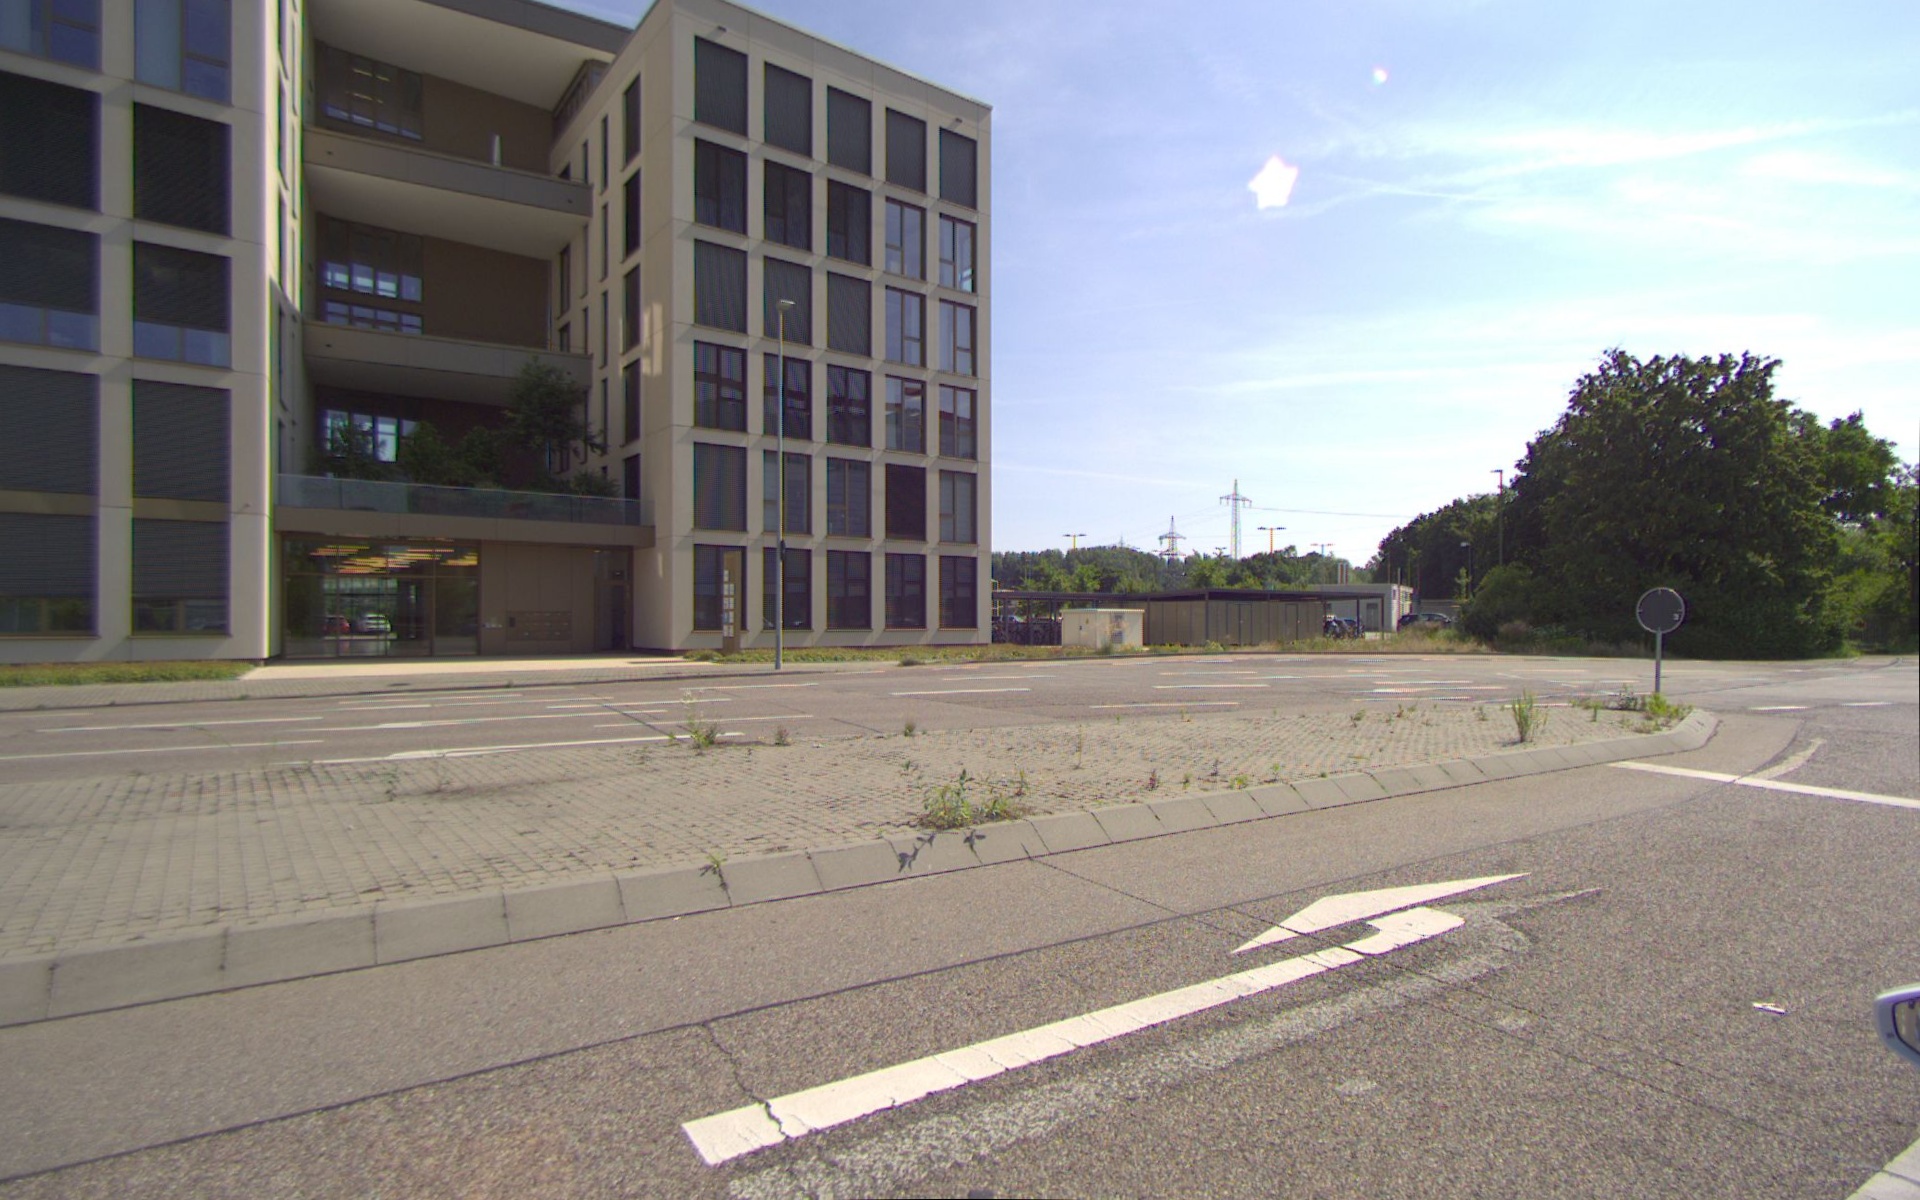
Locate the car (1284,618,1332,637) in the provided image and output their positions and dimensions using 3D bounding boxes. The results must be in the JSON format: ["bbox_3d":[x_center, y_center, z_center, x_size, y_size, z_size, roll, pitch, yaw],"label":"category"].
[{"bbox_3d":[20.783,1.644,59.979,2.798,1.128,1.250,1,-1,-31],"label":"car"}]

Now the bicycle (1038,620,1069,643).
[{"bbox_3d":[4.697,1.576,50.597,0.583,1.106,1.691,1,0,-35],"label":"bicycle"}]

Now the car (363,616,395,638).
[{"bbox_3d":[-45.588,2.103,78.829,1.929,1.702,3.963,1,-1,-33],"label":"car"}]

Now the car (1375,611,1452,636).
[{"bbox_3d":[27.640,1.452,61.274,4.044,1.439,1.723,0,-2,35],"label":"car"}]

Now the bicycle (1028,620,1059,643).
[{"bbox_3d":[4.184,1.572,50.221,0.583,1.106,1.691,1,0,-35],"label":"bicycle"}]

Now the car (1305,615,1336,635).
[{"bbox_3d":[27.521,1.946,76.632,1.697,1.439,3.916,1,-2,28],"label":"car"}]

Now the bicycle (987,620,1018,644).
[{"bbox_3d":[2.060,1.534,48.651,0.583,1.106,1.691,1,0,-35],"label":"bicycle"}]

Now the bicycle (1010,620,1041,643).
[{"bbox_3d":[3.241,1.548,49.763,0.583,1.106,1.691,1,0,-35],"label":"bicycle"}]

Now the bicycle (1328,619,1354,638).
[{"bbox_3d":[22.309,1.641,58.770,1.690,1.106,0.583,1,-1,-34],"label":"bicycle"}]
